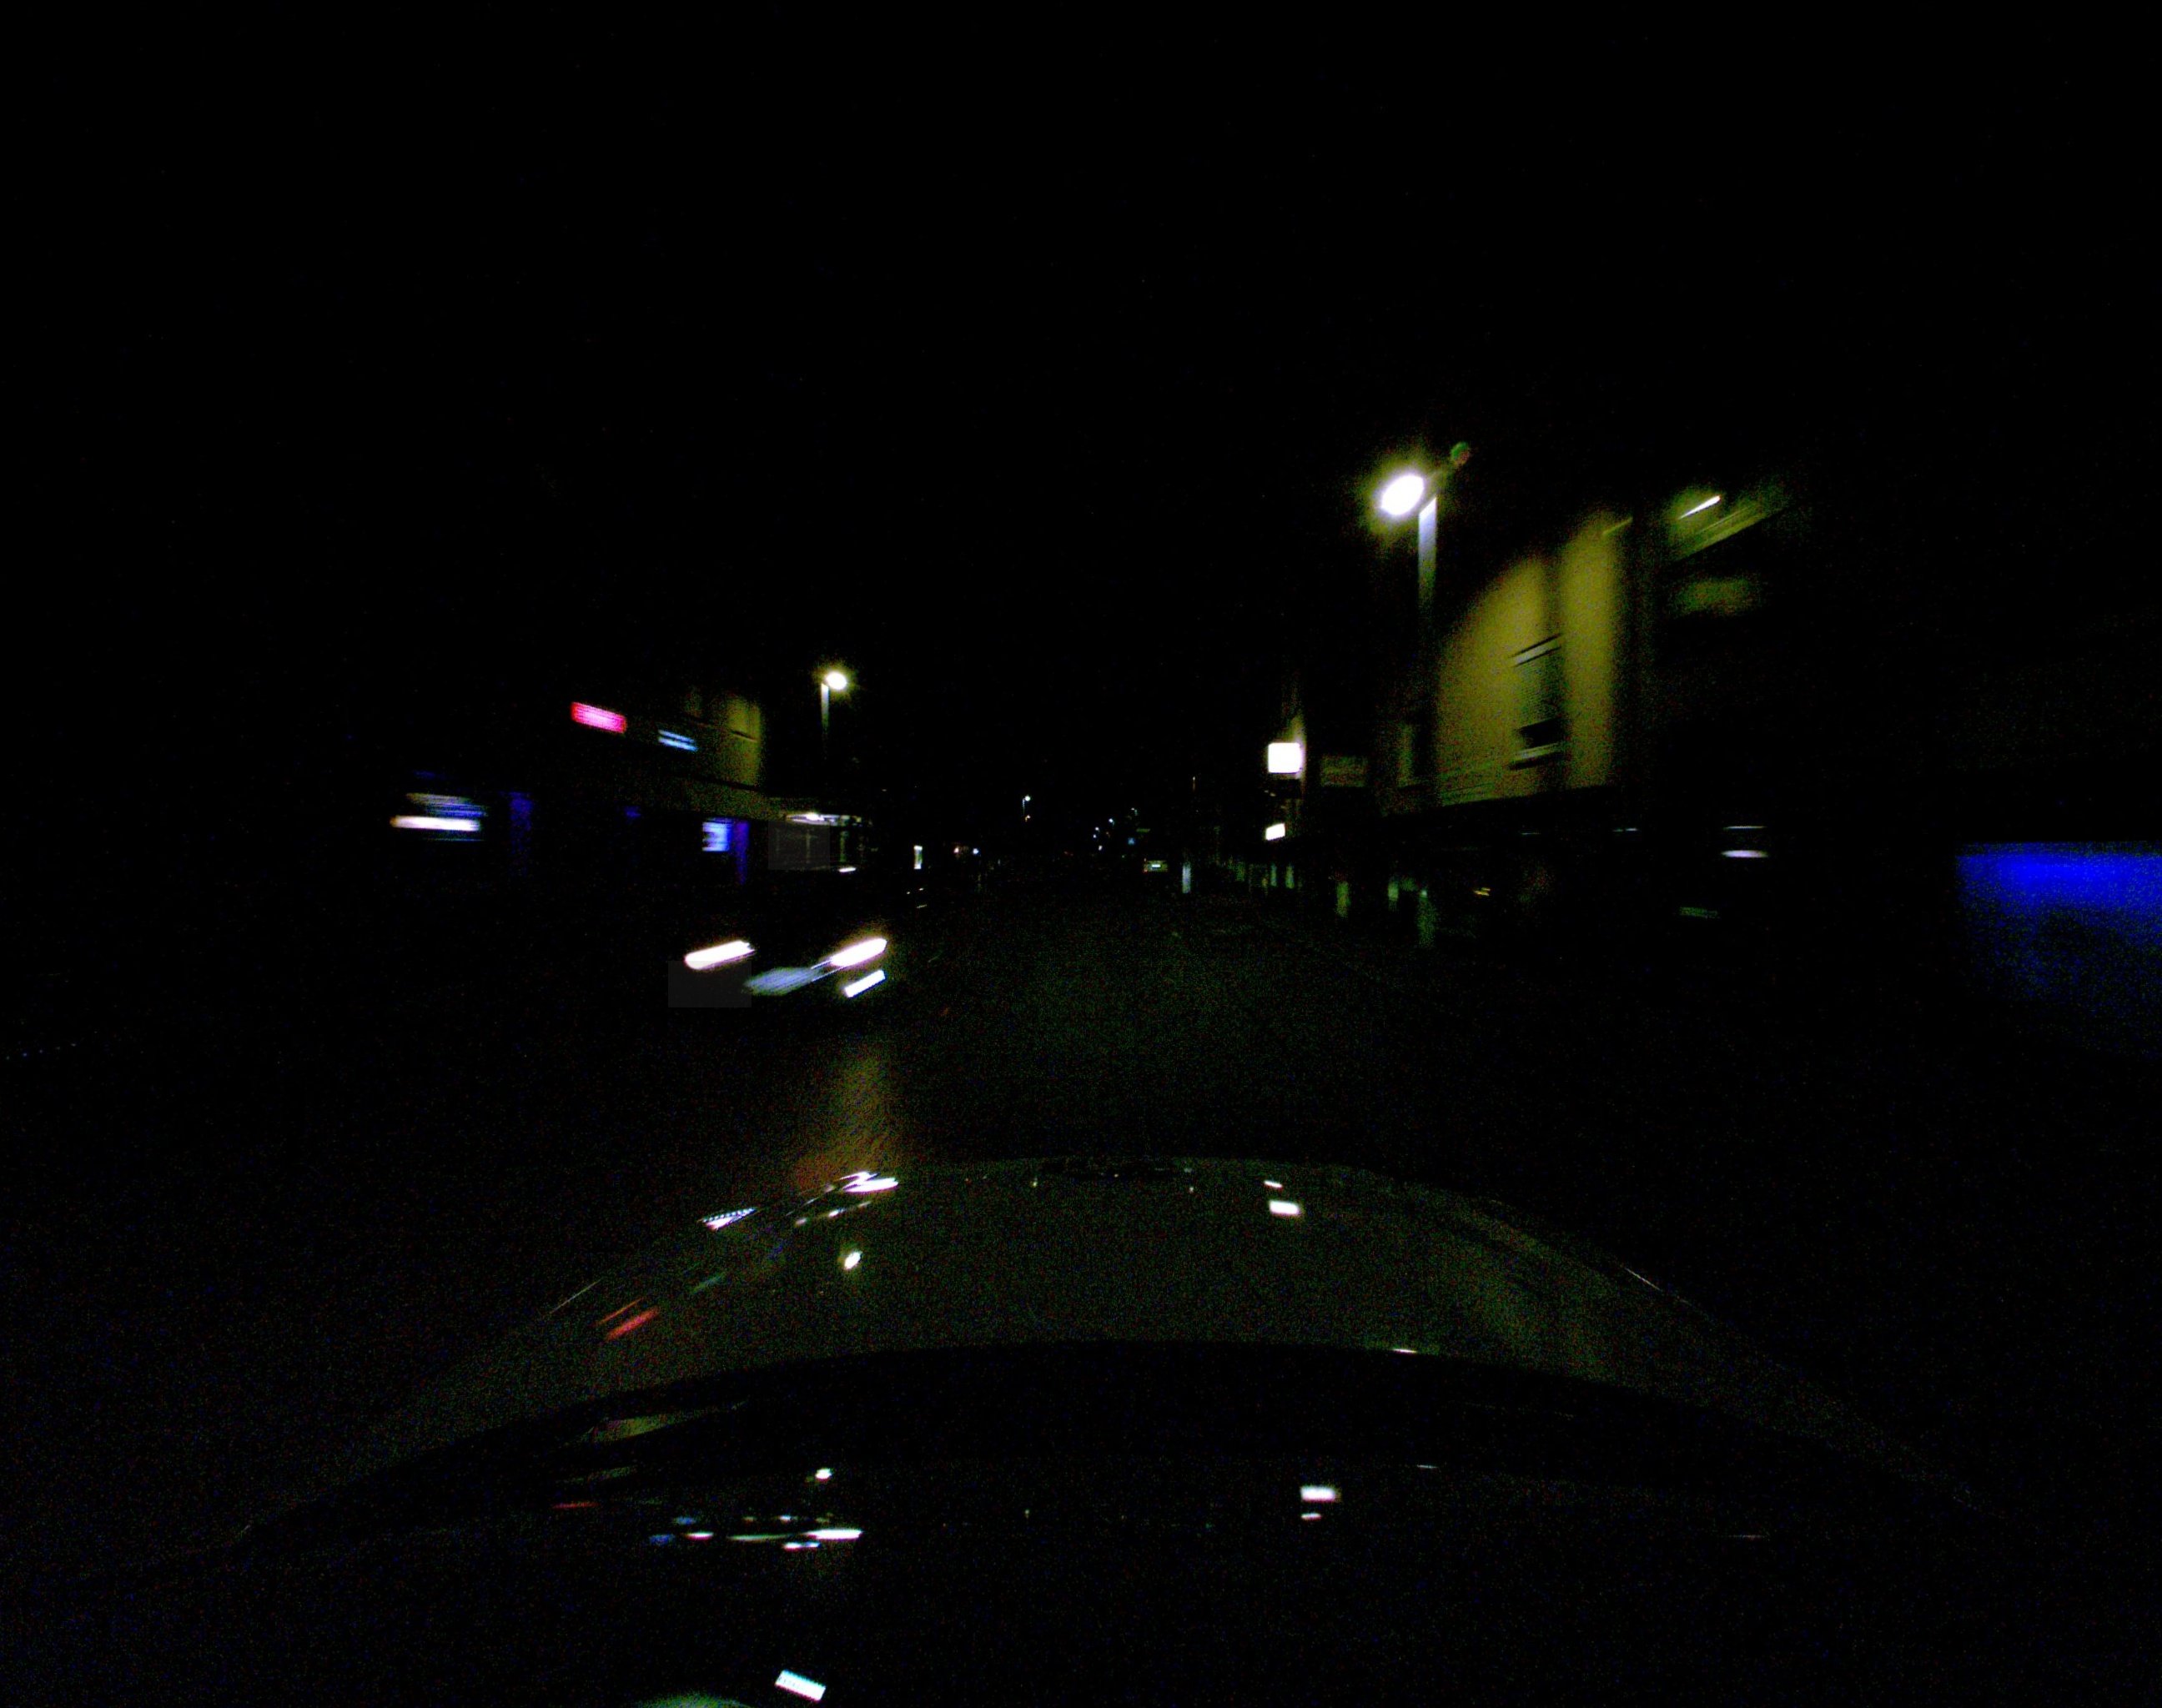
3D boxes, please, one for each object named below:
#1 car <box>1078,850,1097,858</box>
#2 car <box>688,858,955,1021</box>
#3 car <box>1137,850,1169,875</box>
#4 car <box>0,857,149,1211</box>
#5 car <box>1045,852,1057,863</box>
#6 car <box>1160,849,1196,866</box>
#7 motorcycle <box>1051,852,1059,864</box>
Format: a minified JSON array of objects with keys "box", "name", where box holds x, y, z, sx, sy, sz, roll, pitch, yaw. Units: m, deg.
[{"box":[1.845,-0.041,223.854,5.172,2.013,2.099,-2,0,-4],"name":"car"},{"box":[-2.638,0.784,9.243,1.710,1.428,3.817,0,0,1],"name":"car"},{"box":[4.774,0.564,54.507,1.737,1.569,4.207,-1,0,0],"name":"car"},{"box":[-5.353,0.724,1.333,1.889,1.419,4.931,1,0,1],"name":"car"},{"box":[-4.280,0.537,118.147,1.683,1.510,4.276,0,0,-1],"name":"car"},{"box":[10.456,0.365,87.877,3.498,1.525,1.819,-4,0,-3],"name":"car"},{"box":[-3.160,0.497,99.350,0.742,1.452,2.199,0,0,6],"name":"motorcycle"}]
